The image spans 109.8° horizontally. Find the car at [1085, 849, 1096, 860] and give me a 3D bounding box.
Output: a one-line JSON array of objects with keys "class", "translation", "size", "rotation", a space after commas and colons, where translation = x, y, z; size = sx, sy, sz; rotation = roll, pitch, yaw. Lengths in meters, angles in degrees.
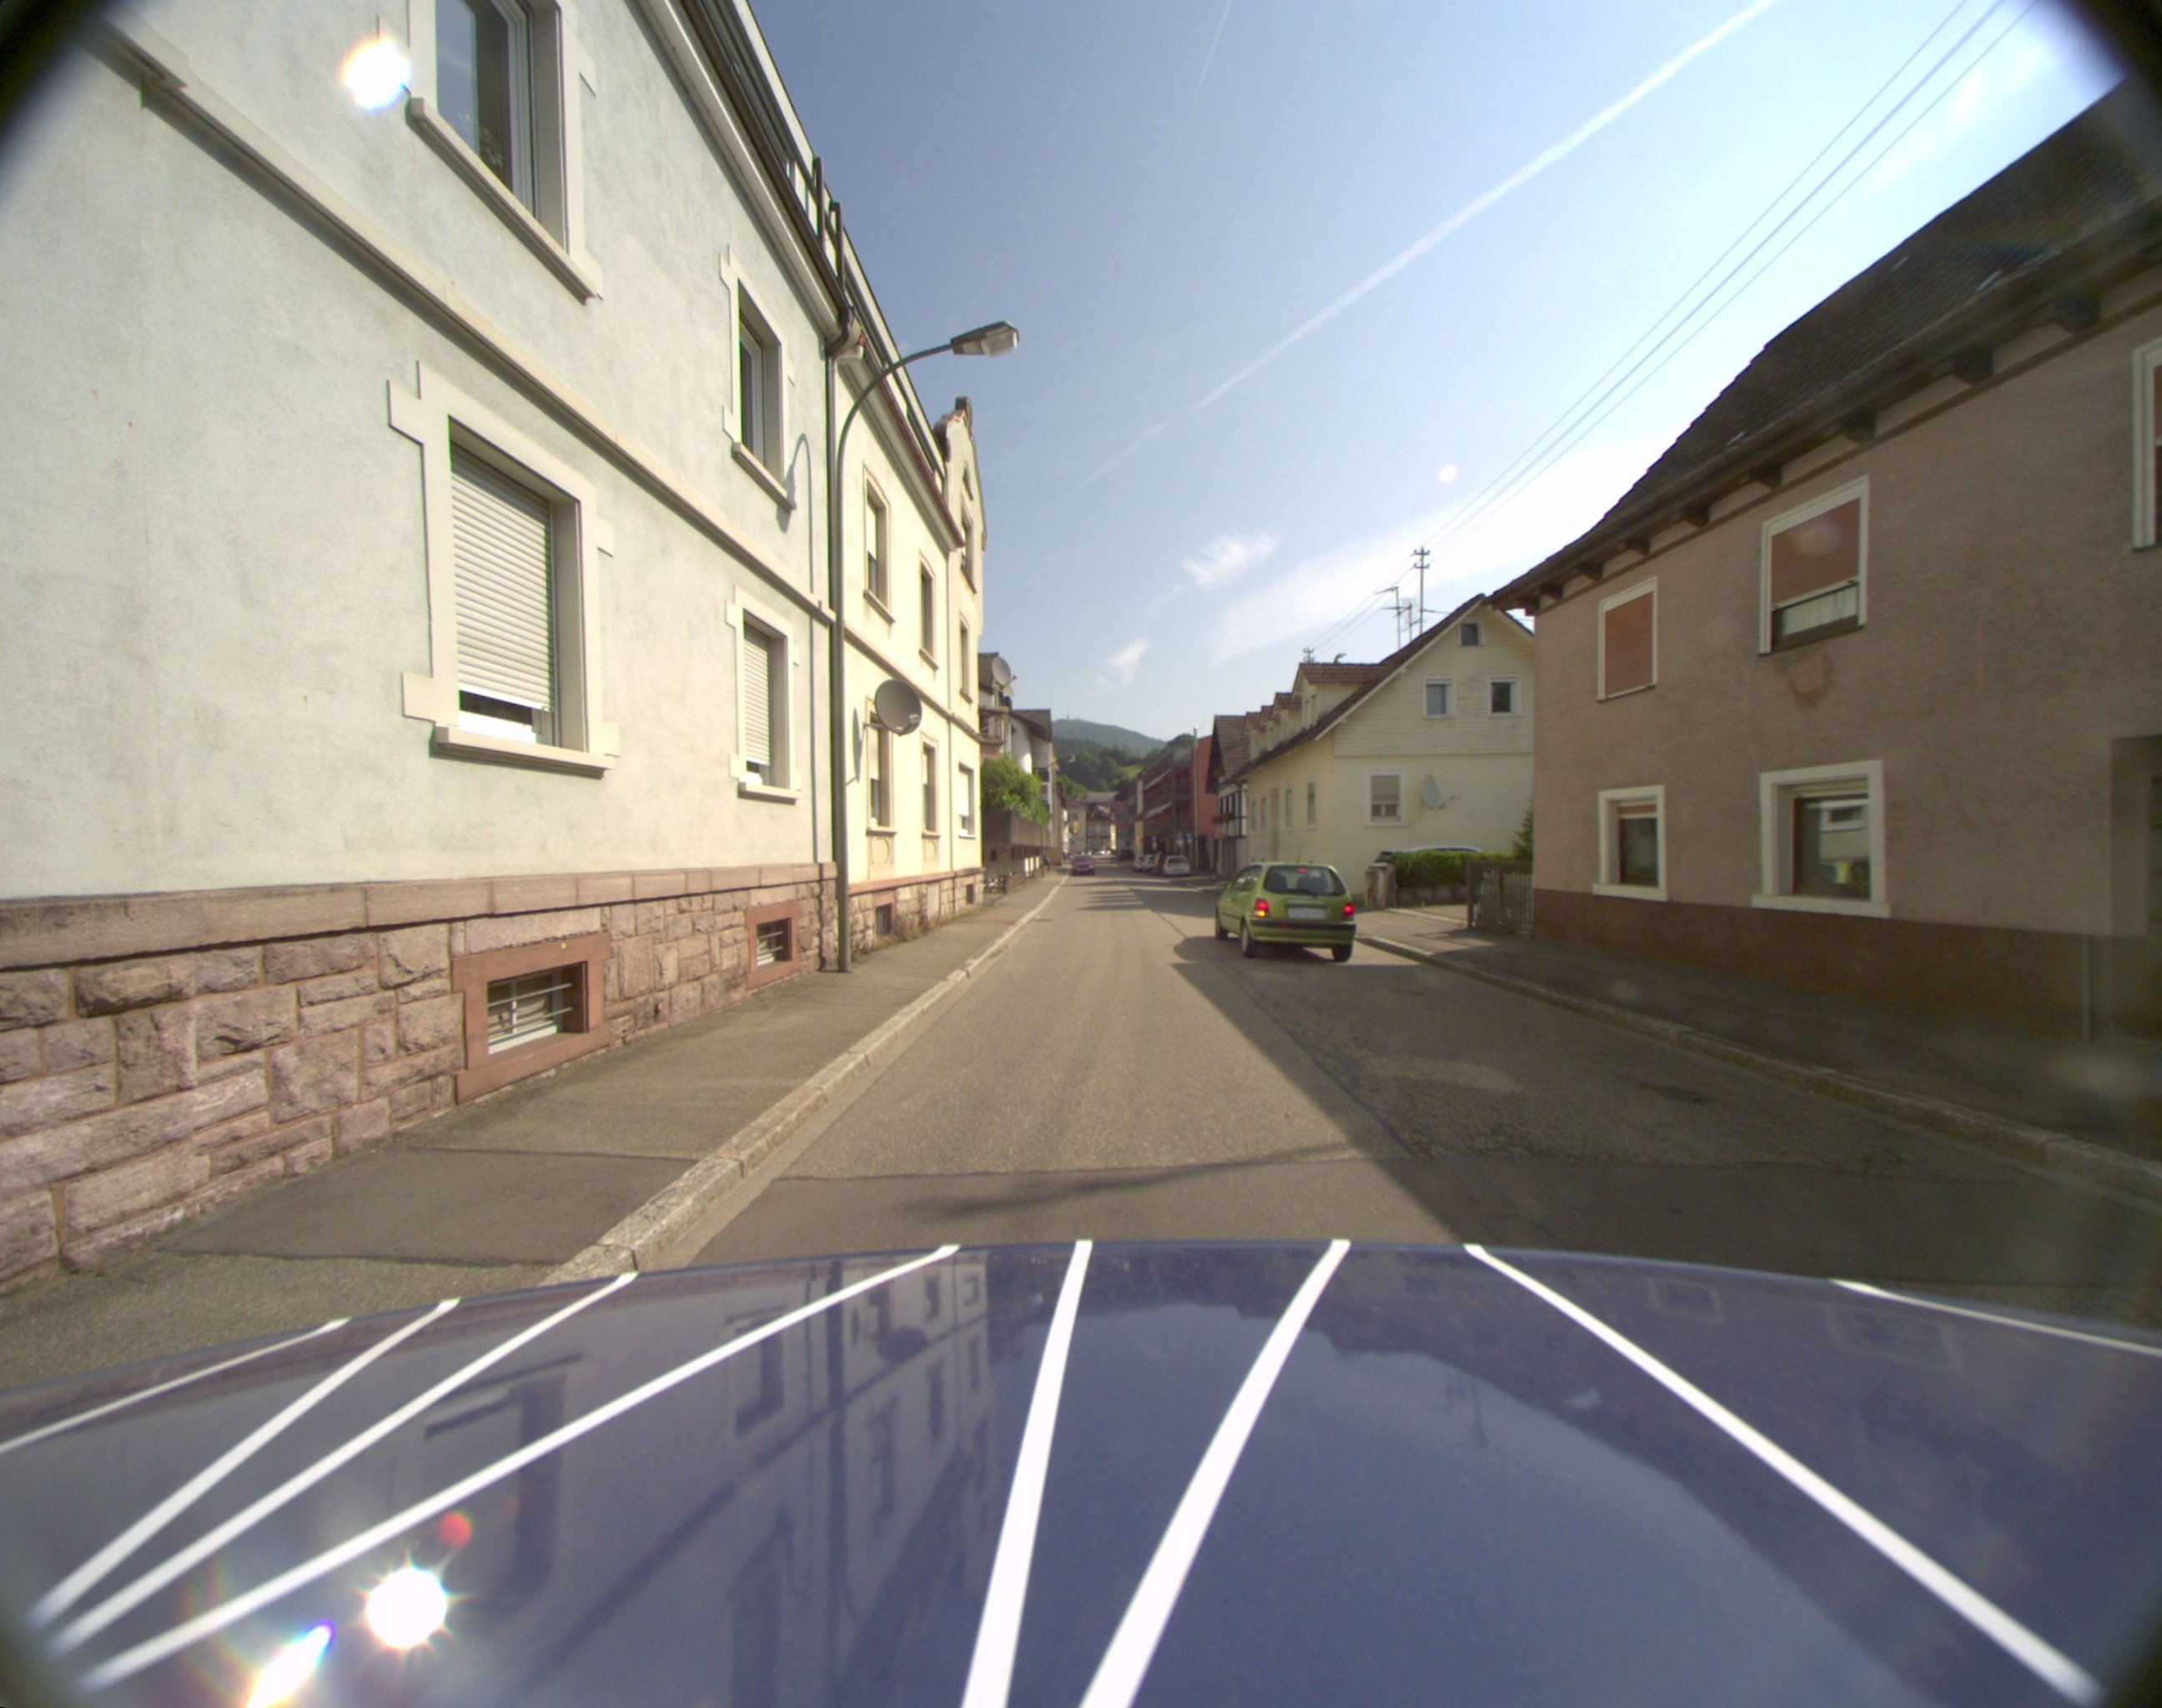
[{"class": "car", "translation": [1.867, 0.092, 145.789], "size": [1.998, 2.002, 3.999], "rotation": [-2, 1, 1]}]

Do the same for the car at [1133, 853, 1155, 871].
[{"class": "car", "translation": [5.852, 0.720, 70.817], "size": [1.678, 1.546, 3.764], "rotation": [-2, 0, -1]}]

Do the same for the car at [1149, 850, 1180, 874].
[{"class": "car", "translation": [6.340, 0.592, 58.247], "size": [1.724, 1.786, 4.268], "rotation": [-1, 0, -2]}]

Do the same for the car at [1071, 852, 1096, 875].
[{"class": "car", "translation": [0.169, 0.697, 58.933], "size": [1.822, 1.652, 3.999], "rotation": [-1, 1, -1]}]

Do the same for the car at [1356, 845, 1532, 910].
[{"class": "car", "translation": [10.071, 0.620, 21.302], "size": [3.998, 1.584, 1.907], "rotation": [-2, 0, -2]}]

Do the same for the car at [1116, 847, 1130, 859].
[{"class": "car", "translation": [6.231, -0.196, 112.584], "size": [1.787, 1.566, 3.888], "rotation": [-4, 1, -1]}]

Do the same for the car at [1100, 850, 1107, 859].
[{"class": "car", "translation": [5.242, 0.199, 176.580], "size": [1.742, 2.002, 3.840], "rotation": [-1, 0, 2]}]

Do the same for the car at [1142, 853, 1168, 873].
[{"class": "car", "translation": [6.207, 0.764, 64.119], "size": [1.679, 1.580, 3.948], "rotation": [-2, 0, -1]}]

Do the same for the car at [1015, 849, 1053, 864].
[{"class": "car", "translation": [-4.962, 0.287, 80.700], "size": [3.837, 1.470, 1.700], "rotation": [-3, 0, -2]}]

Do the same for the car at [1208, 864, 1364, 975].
[{"class": "car", "translation": [3.229, 0.955, 12.667], "size": [1.600, 1.456, 3.659], "rotation": [3, 0, 1]}]

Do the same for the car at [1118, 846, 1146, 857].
[{"class": "car", "translation": [8.097, -0.419, 120.860], "size": [4.000, 1.674, 1.834], "rotation": [-1, -1, -8]}]

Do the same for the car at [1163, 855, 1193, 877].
[{"class": "car", "translation": [6.736, 0.810, 53.120], "size": [1.670, 1.423, 3.569], "rotation": [-2, 0, 1]}]
